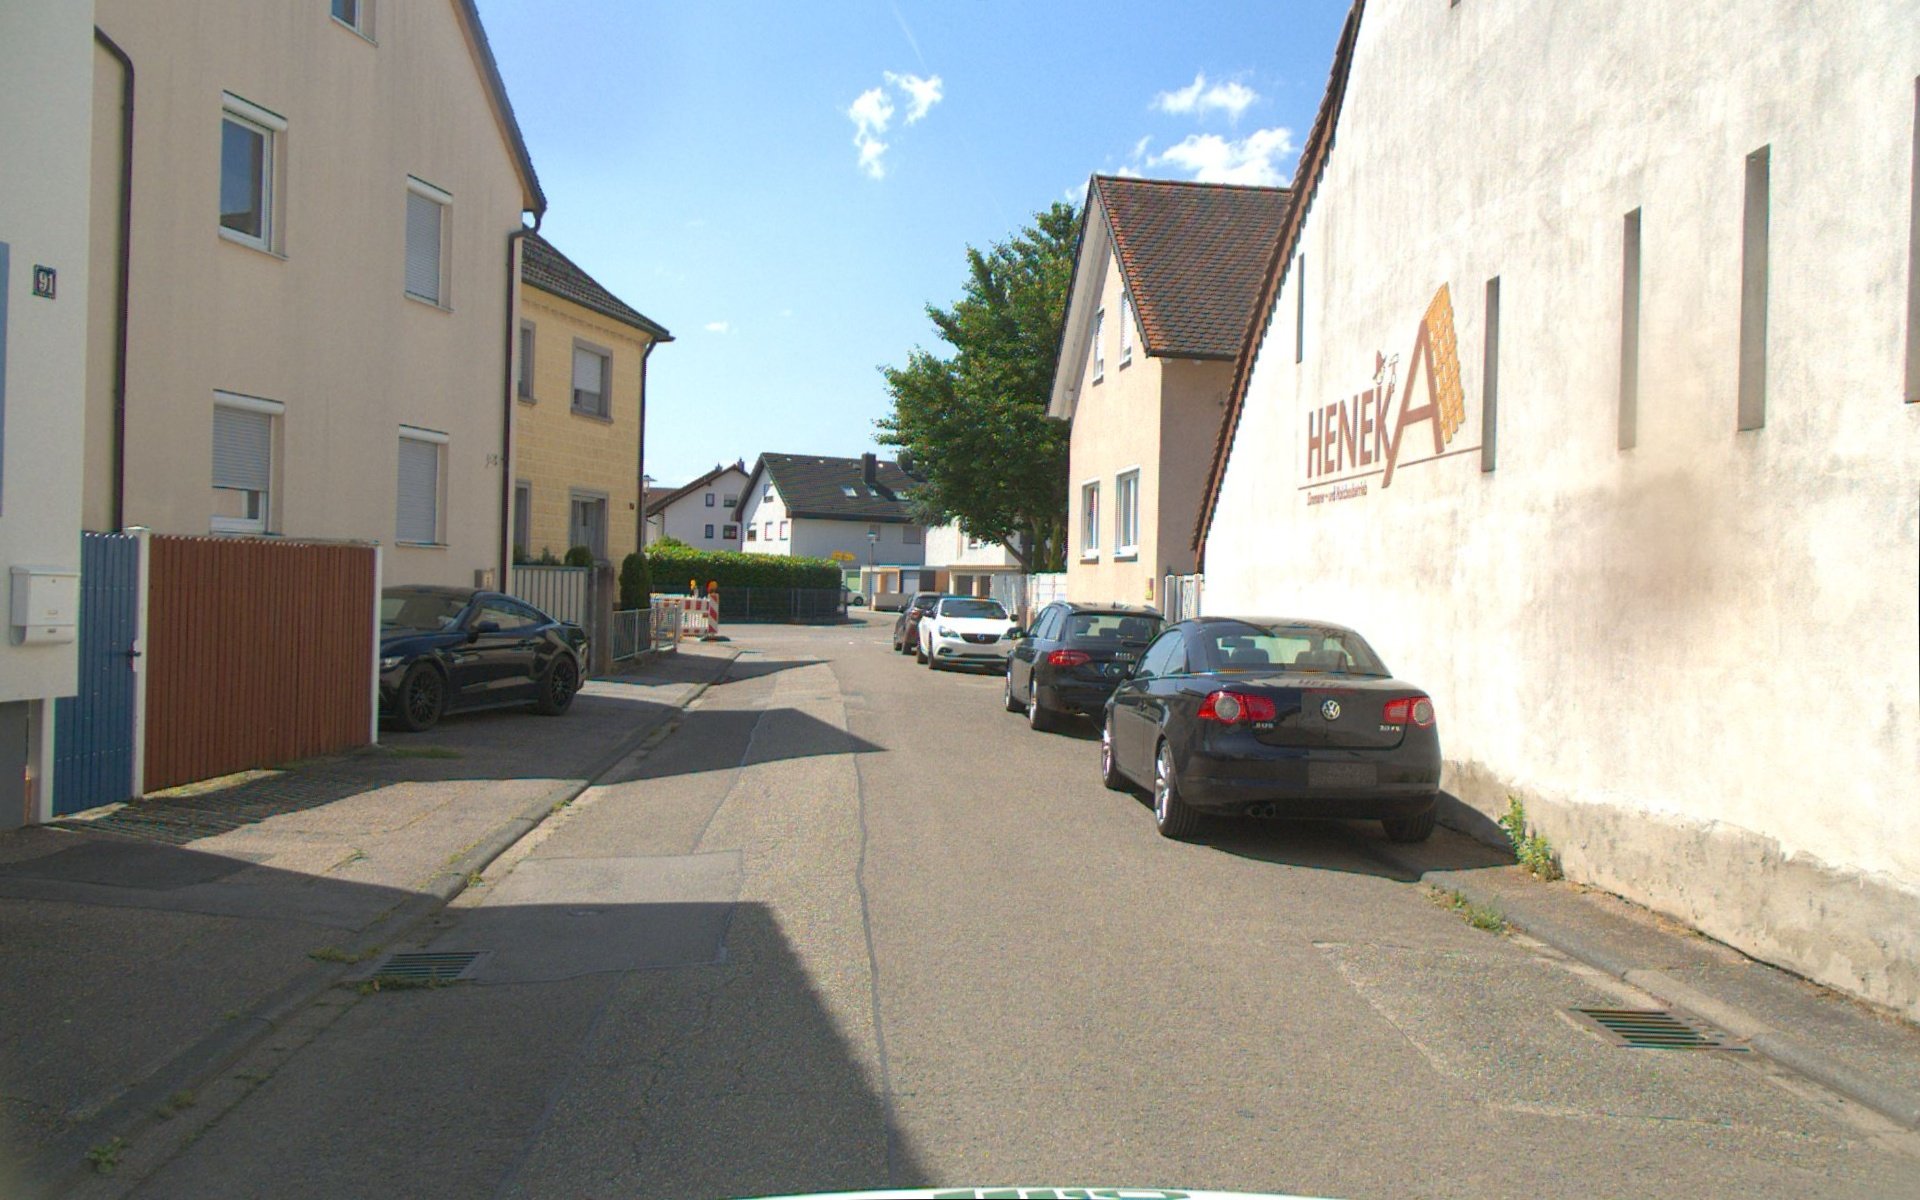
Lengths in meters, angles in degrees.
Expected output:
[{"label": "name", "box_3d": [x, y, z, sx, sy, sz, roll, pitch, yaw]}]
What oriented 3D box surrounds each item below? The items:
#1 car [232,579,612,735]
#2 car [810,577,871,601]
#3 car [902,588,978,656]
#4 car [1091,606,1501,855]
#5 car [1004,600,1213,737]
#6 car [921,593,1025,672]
[{"label": "car", "box_3d": [-5.437, 0.539, 17.416, 1.732, 1.373, 4.473, 2, 0, 12]}, {"label": "car", "box_3d": [-7.665, -0.691, 106.173, 3.557, 1.433, 1.768, 1, 0, -28]}, {"label": "car", "box_3d": [-0.534, 0.504, 40.749, 1.678, 1.559, 4.033, 1, 0, -3]}, {"label": "car", "box_3d": [2.167, 0.784, 11.971, 1.858, 1.389, 4.412, 1, 0, -3]}, {"label": "car", "box_3d": [1.643, 0.729, 19.952, 1.858, 1.389, 4.734, 1, 0, -3]}, {"label": "car", "box_3d": [0.192, 0.620, 34.070, 1.858, 1.453, 4.734, 1, 0, -3]}]
